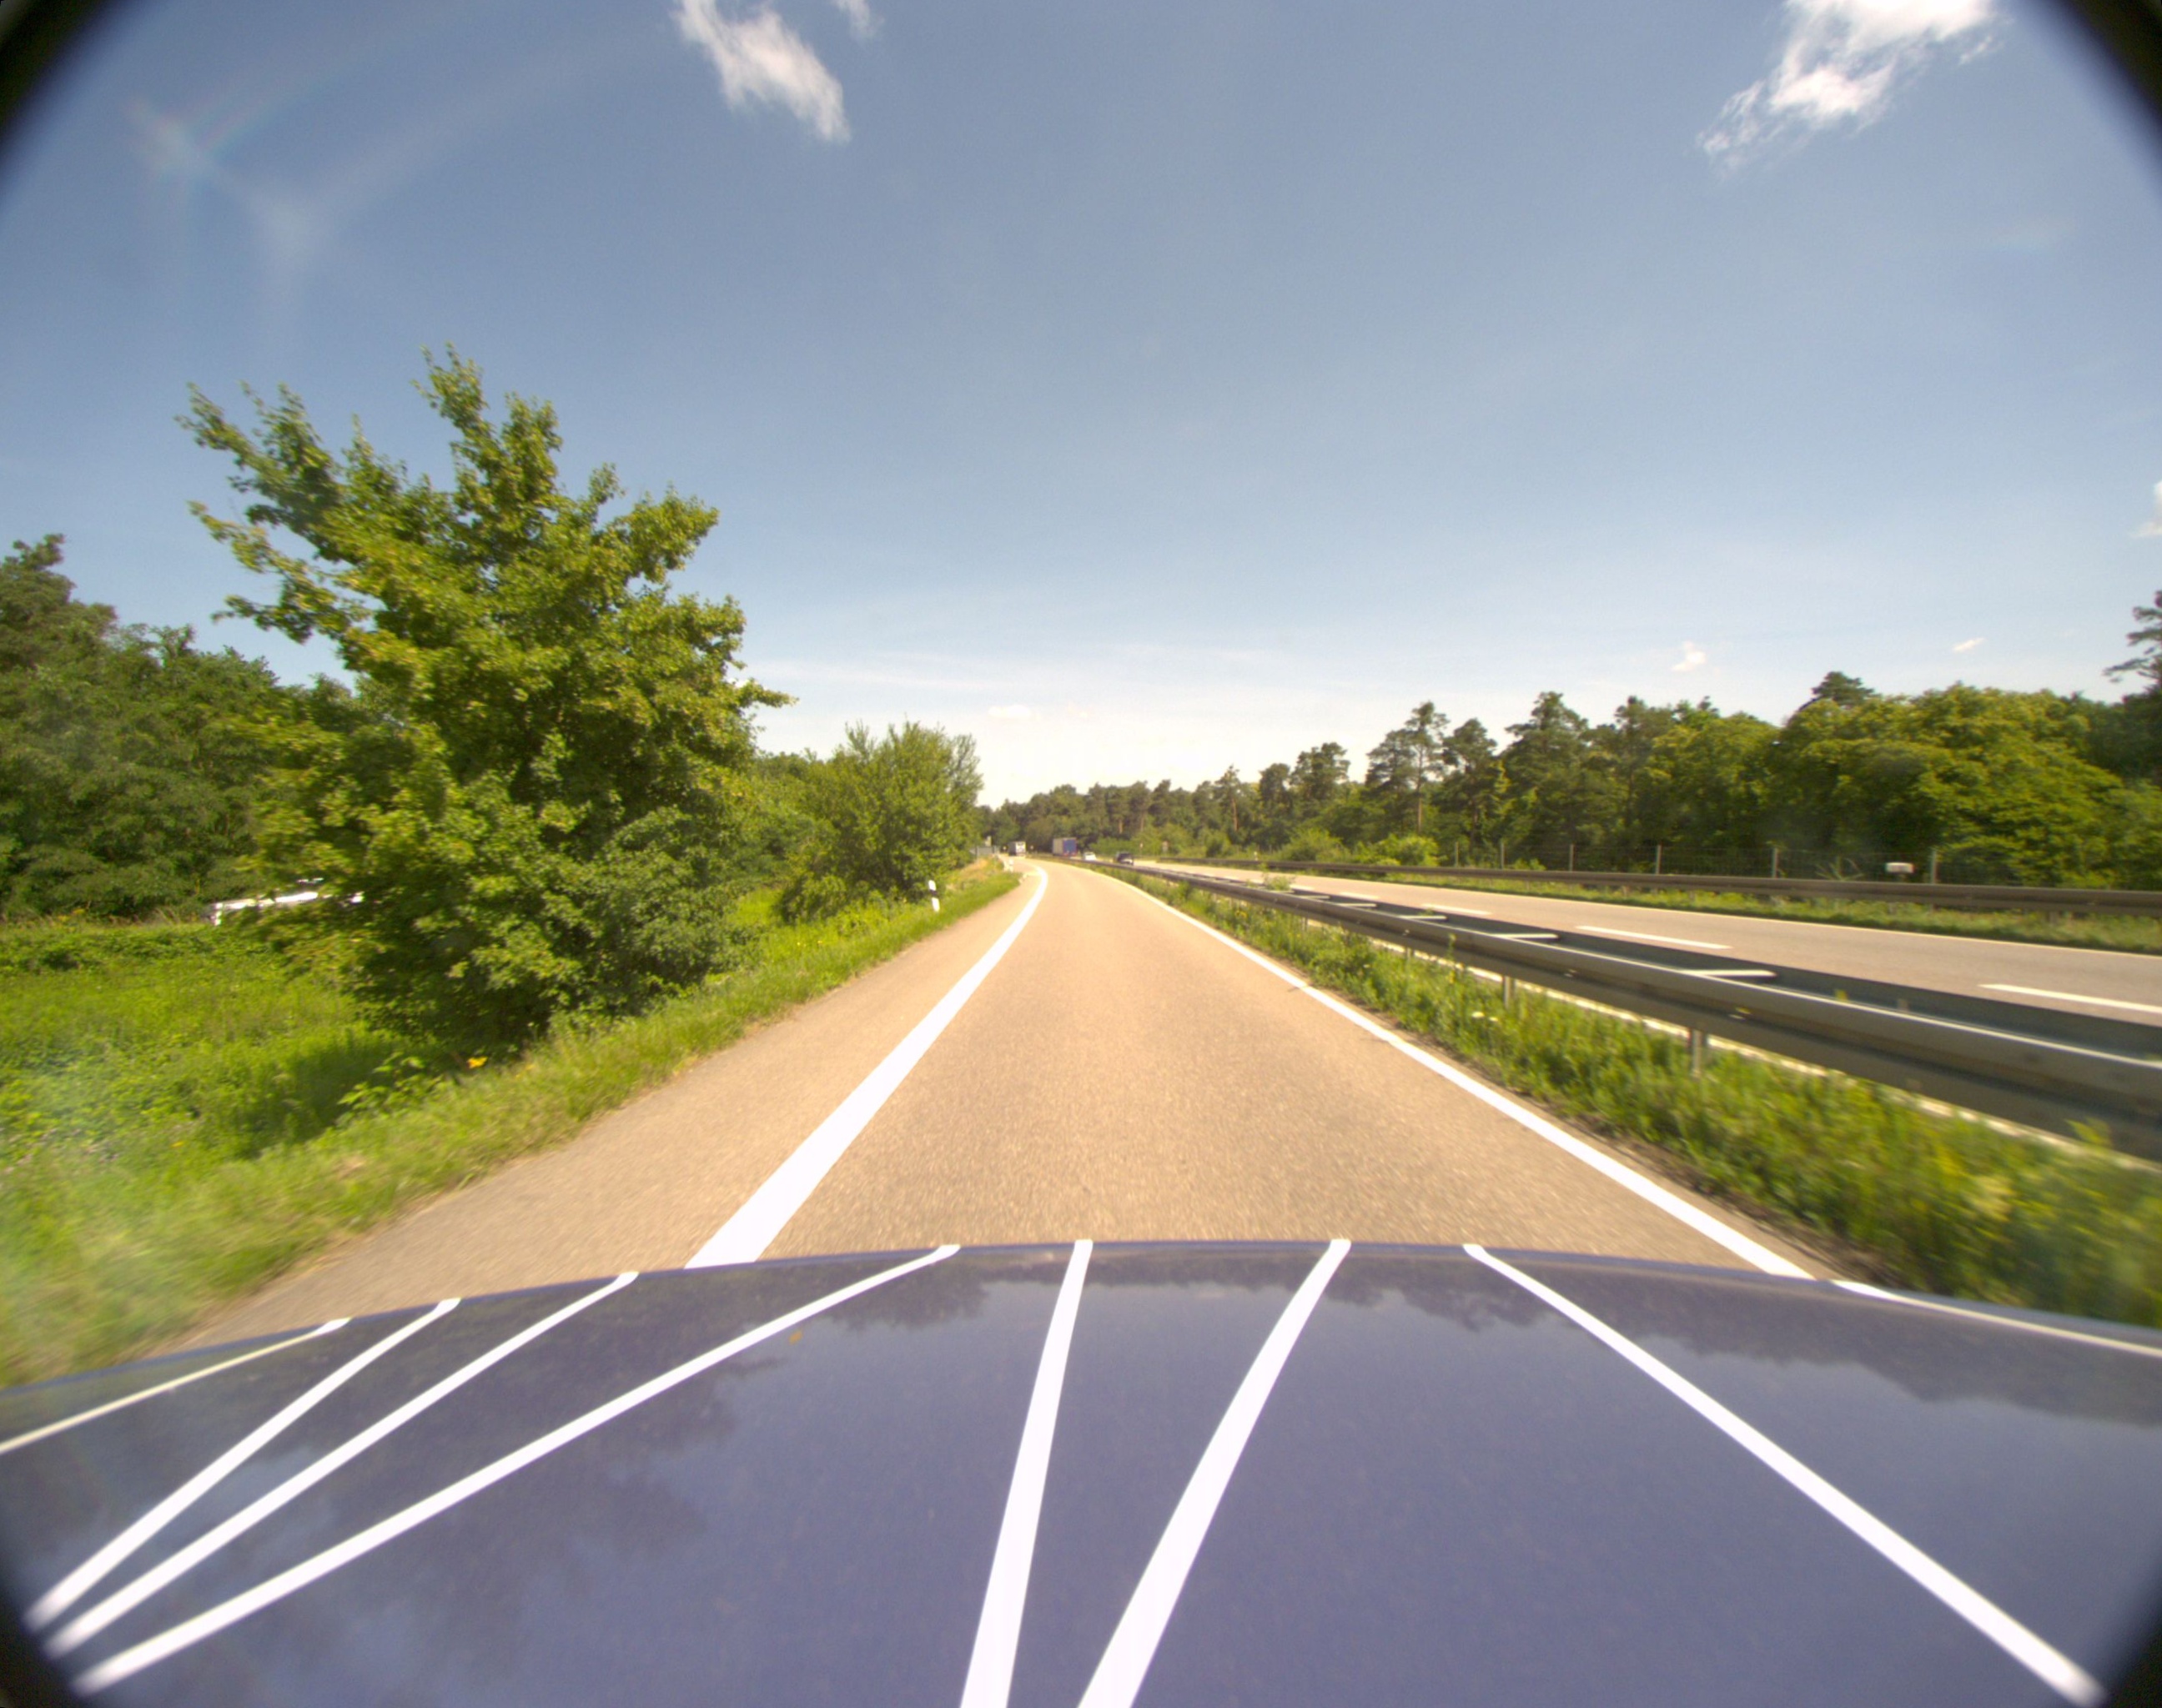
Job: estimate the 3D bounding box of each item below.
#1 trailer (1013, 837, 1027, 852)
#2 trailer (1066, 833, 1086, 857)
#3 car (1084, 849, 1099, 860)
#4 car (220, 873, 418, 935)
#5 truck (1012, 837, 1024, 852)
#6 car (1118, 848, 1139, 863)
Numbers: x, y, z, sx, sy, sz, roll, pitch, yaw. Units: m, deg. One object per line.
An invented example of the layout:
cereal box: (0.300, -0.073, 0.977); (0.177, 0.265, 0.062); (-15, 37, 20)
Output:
trailer: (-17.859, -2.839, 222.700); (2.677, 4.164, 14.048); (-2, 1, -10)
trailer: (-1.033, -1.615, 140.346); (2.753, 4.149, 14.575); (-2, 1, -4)
car: (1.496, 0.052, 111.797); (1.799, 1.436, 4.604); (-2, 1, -3)
car: (-26.751, 1.704, 26.823); (1.895, 1.656, 4.674); (-3, 1, 39)
truck: (-19.016, -2.886, 229.161); (2.677, 4.164, 5.708); (-2, 1, -10)
car: (5.298, 0.145, 85.347); (1.760, 1.492, 4.572); (-2, 1, -4)
